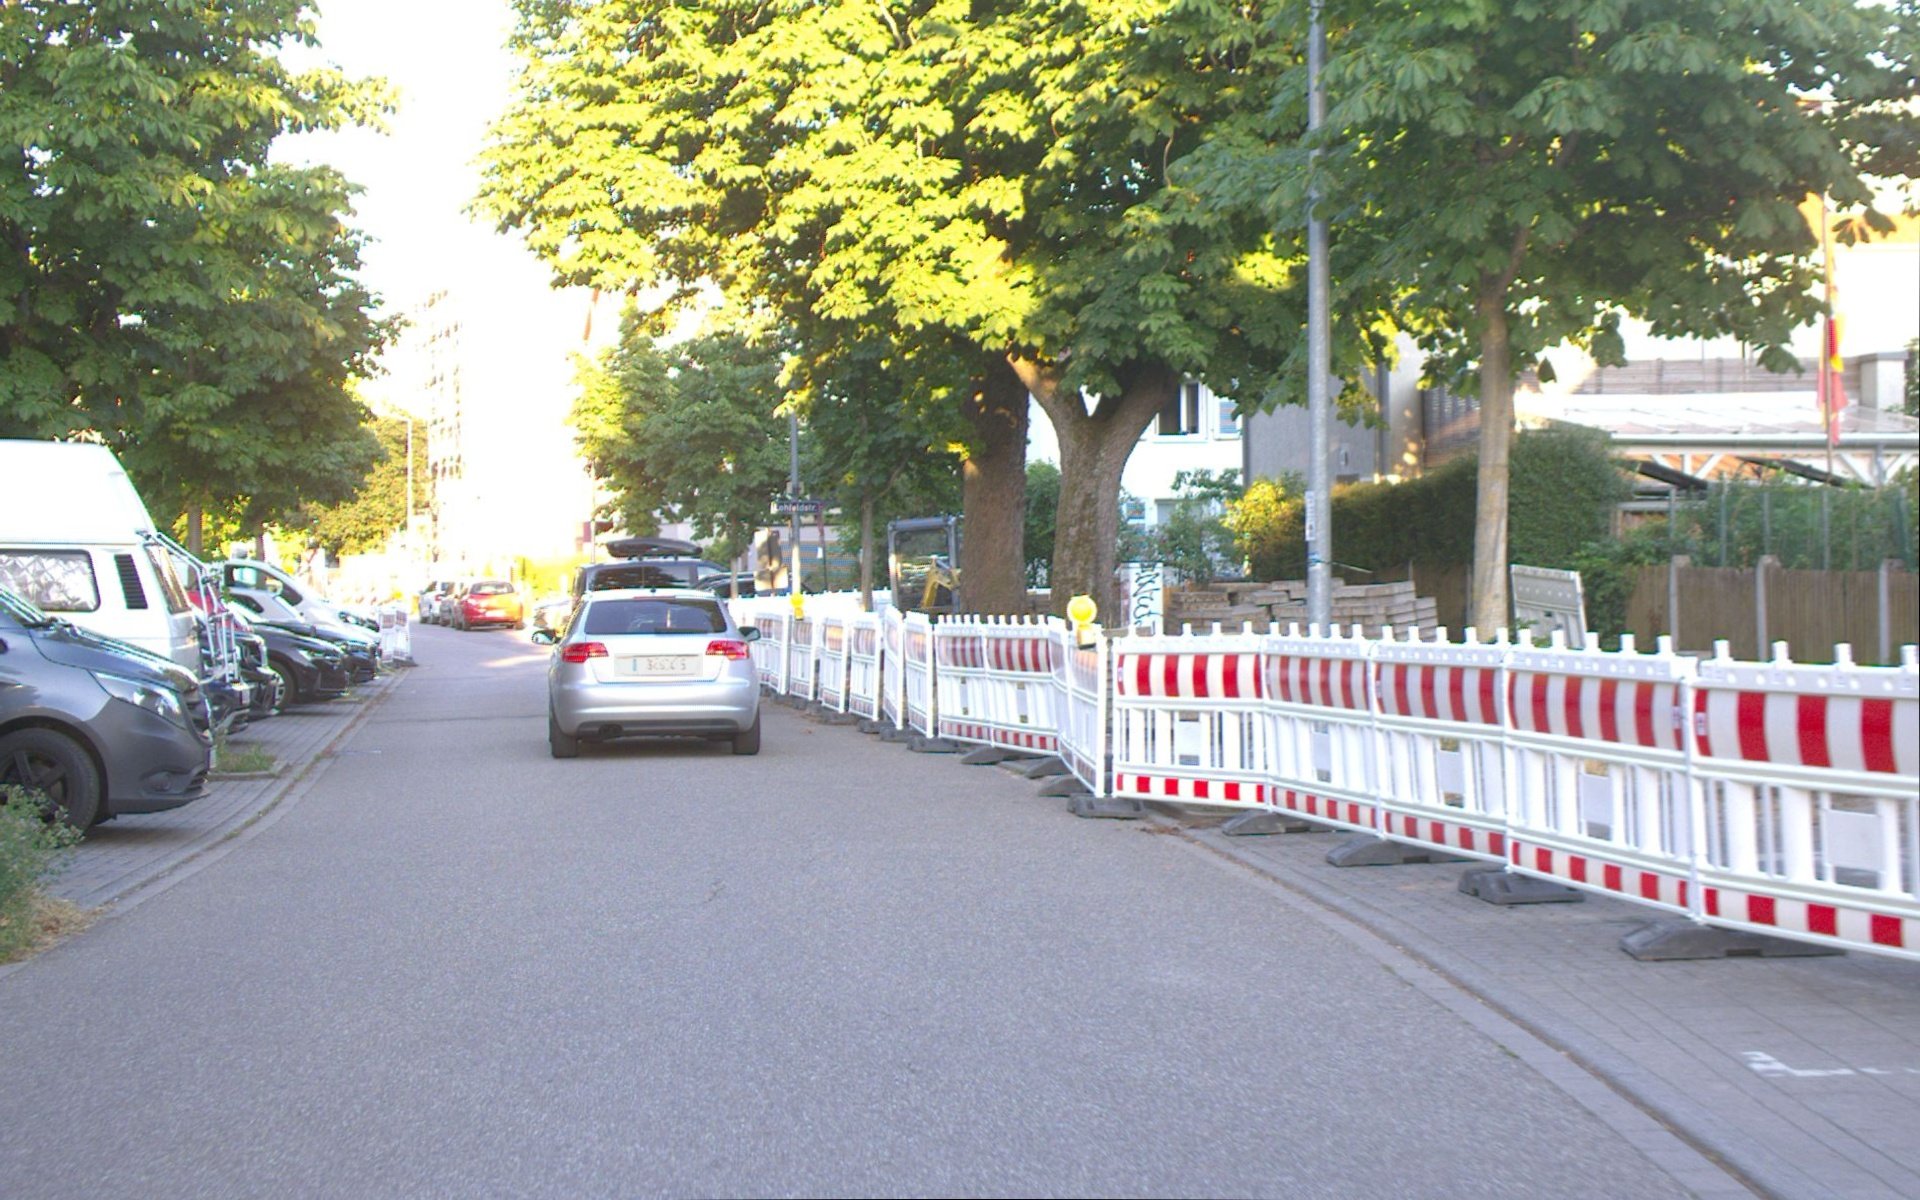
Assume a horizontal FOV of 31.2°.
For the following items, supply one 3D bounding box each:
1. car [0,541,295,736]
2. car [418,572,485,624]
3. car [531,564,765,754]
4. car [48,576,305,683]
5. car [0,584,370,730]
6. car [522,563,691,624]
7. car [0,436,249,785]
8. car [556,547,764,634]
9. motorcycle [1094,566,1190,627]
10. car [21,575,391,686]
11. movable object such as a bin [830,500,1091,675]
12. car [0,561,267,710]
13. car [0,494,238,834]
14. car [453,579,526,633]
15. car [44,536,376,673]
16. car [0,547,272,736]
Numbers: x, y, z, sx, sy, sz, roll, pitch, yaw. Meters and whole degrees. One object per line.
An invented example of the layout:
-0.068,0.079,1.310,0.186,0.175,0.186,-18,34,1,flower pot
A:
-8.282,0.341,32.224,3.860,1.771,1.843,0,1,-5,car
-16.044,-0.070,108.363,1.808,1.607,3.582,0,1,-13,car
-2.766,0.451,29.774,1.807,1.483,4.001,-1,1,-8,car
-11.164,0.408,49.171,3.414,1.479,1.759,0,1,-7,car
-9.093,0.628,39.724,4.405,1.609,1.900,0,1,-12,car
-9.355,-0.190,90.920,4.148,1.567,1.798,0,1,-19,car
-7.514,0.062,24.811,4.501,2.422,2.000,0,1,-6,car
-7.089,-0.246,81.180,4.555,2.016,2.102,0,1,-17,car
3.358,-0.072,63.281,1.841,1.102,0.581,0,1,-39,motorcycle
-10.136,0.404,46.538,4.771,1.465,1.881,0,0,-9,car
-0.077,-0.201,49.950,2.627,2.394,5.199,0,1,-14,movable object such as a bin
-9.630,0.365,37.517,3.986,1.578,1.731,0,1,-9,car
-6.619,0.342,19.741,4.672,1.867,2.000,0,1,-6,car
-13.461,0.154,98.190,1.729,1.478,3.558,0,1,-13,car
-11.189,0.053,51.593,4.771,2.007,2.001,0,1,-9,car
-8.002,0.339,29.734,3.860,1.589,1.786,0,1,-5,car
